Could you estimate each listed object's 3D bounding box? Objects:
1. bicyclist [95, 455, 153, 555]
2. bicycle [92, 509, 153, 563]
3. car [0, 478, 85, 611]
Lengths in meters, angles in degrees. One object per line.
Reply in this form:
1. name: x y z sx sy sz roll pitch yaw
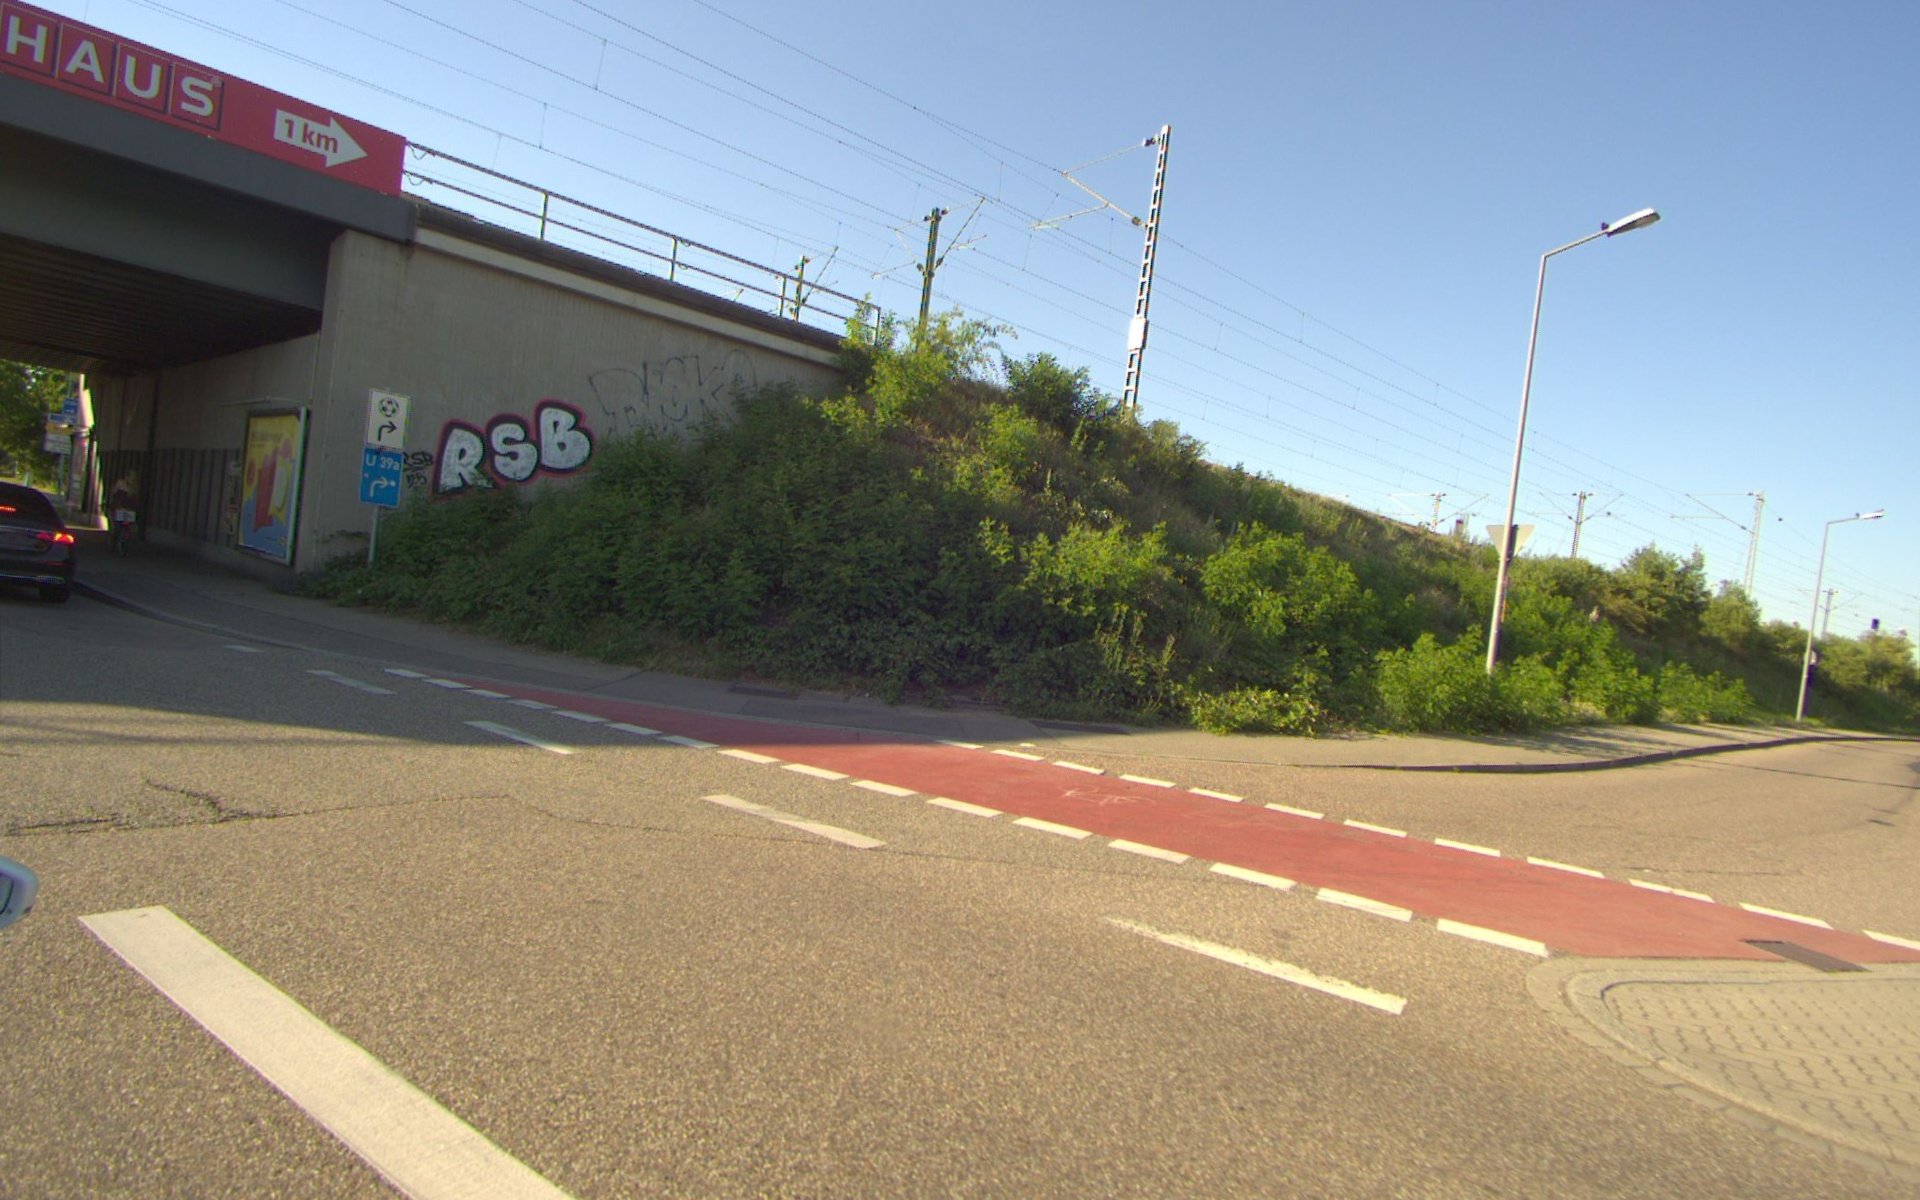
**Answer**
1. bicyclist: -17.306 -1.955 20.821 0.822 1.930 0.680 7 1 42
2. bicycle: -17.408 -1.347 20.881 2.848 0.975 0.577 6 0 43
3. car: -13.319 -0.927 13.265 4.535 1.472 1.740 8 0 37
